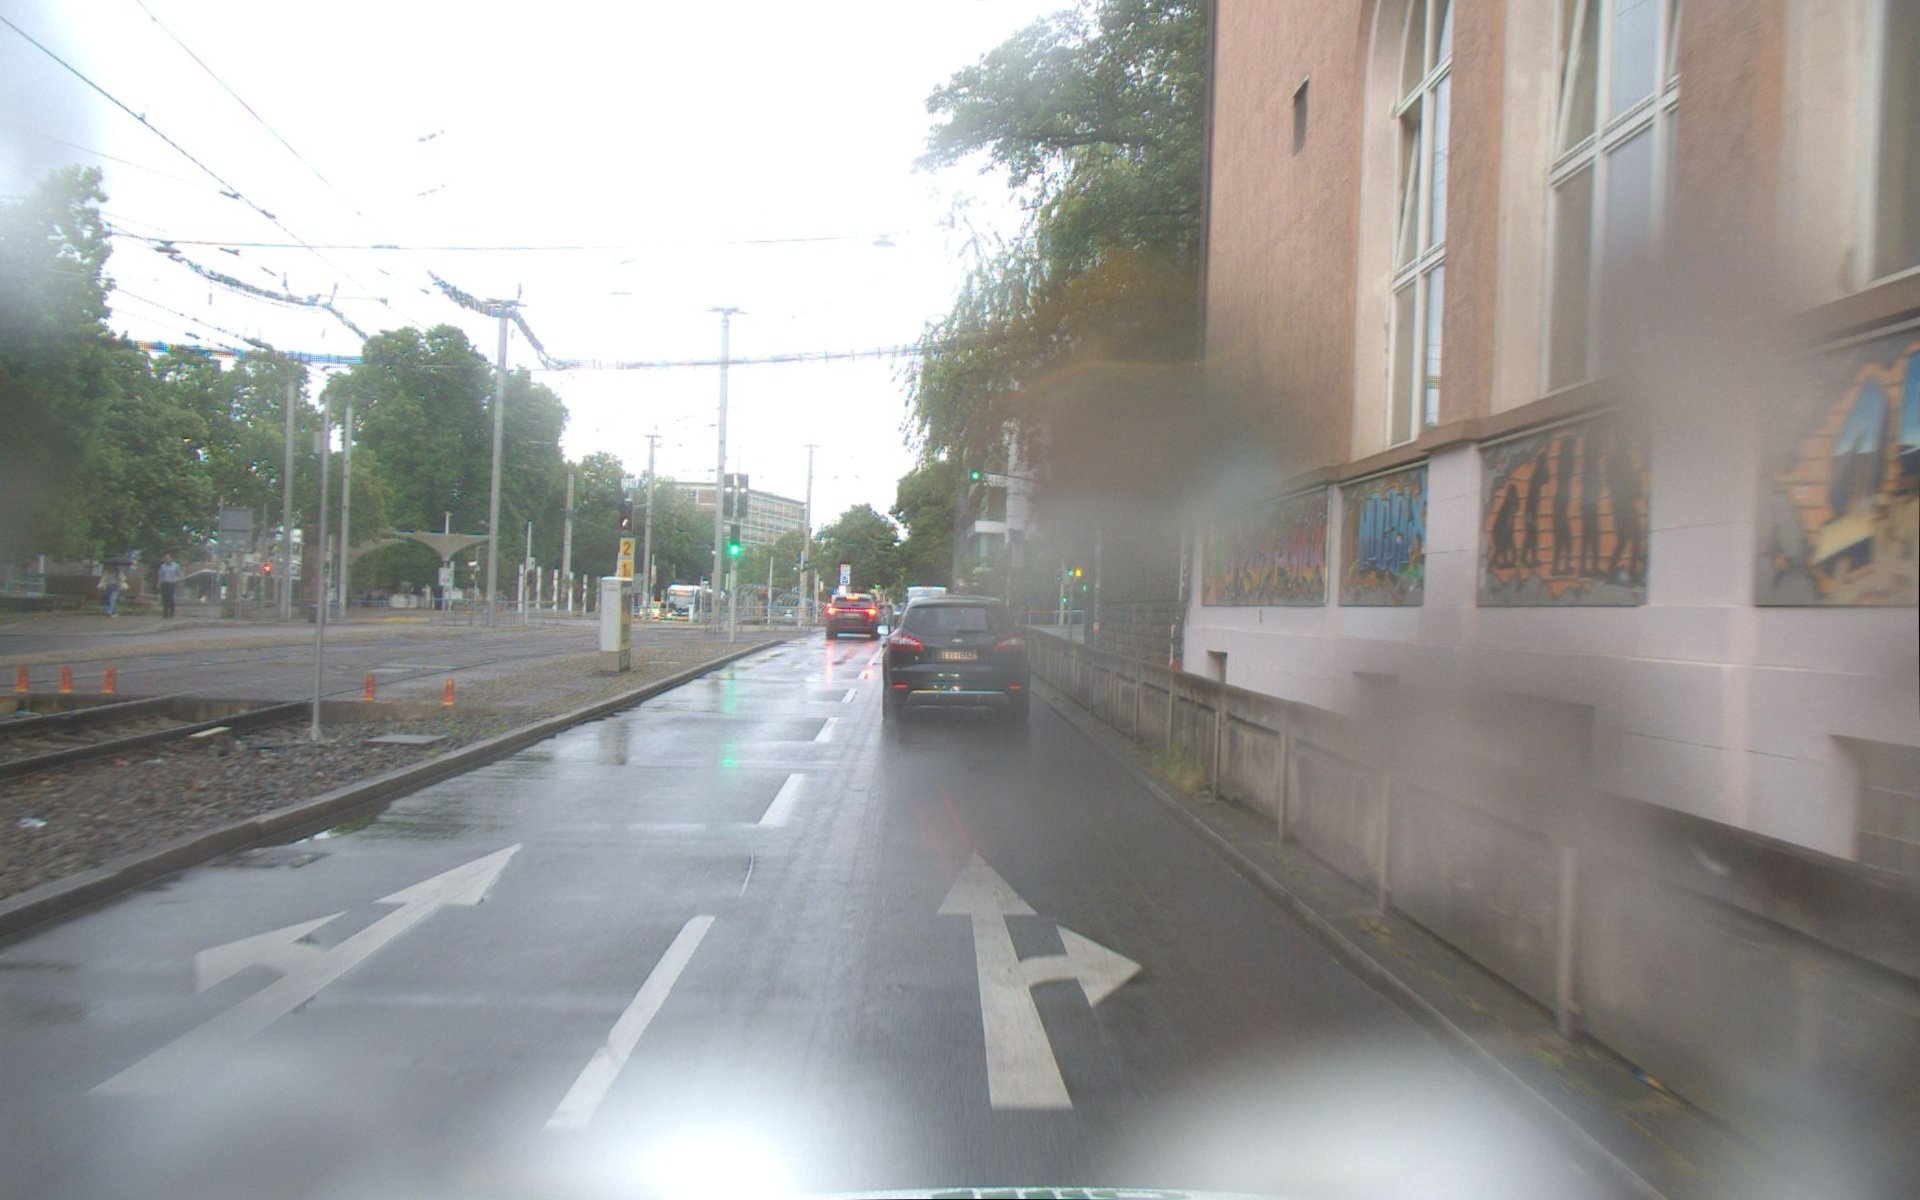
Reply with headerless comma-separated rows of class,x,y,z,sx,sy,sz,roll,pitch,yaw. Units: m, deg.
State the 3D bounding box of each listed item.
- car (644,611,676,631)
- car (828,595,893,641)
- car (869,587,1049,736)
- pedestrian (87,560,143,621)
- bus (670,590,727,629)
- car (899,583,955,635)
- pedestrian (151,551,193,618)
car,-26.271,1.802,144.988,1.953,1.674,4.535,1,0,-1
car,-3.525,0.615,57.888,2.058,1.532,4.725,1,0,-6
car,-0.060,0.701,21.029,1.995,1.612,4.391,2,0,-1
pedestrian,-23.476,-0.245,45.974,0.891,1.621,1.004,4,-1,5
bus,-23.473,0.868,149.135,3.014,3.358,12.521,1,0,0
car,-1.267,0.347,64.797,1.994,1.872,4.392,2,0,0
pedestrian,-23.383,-0.470,49.051,0.902,1.895,0.992,4,-1,-33
